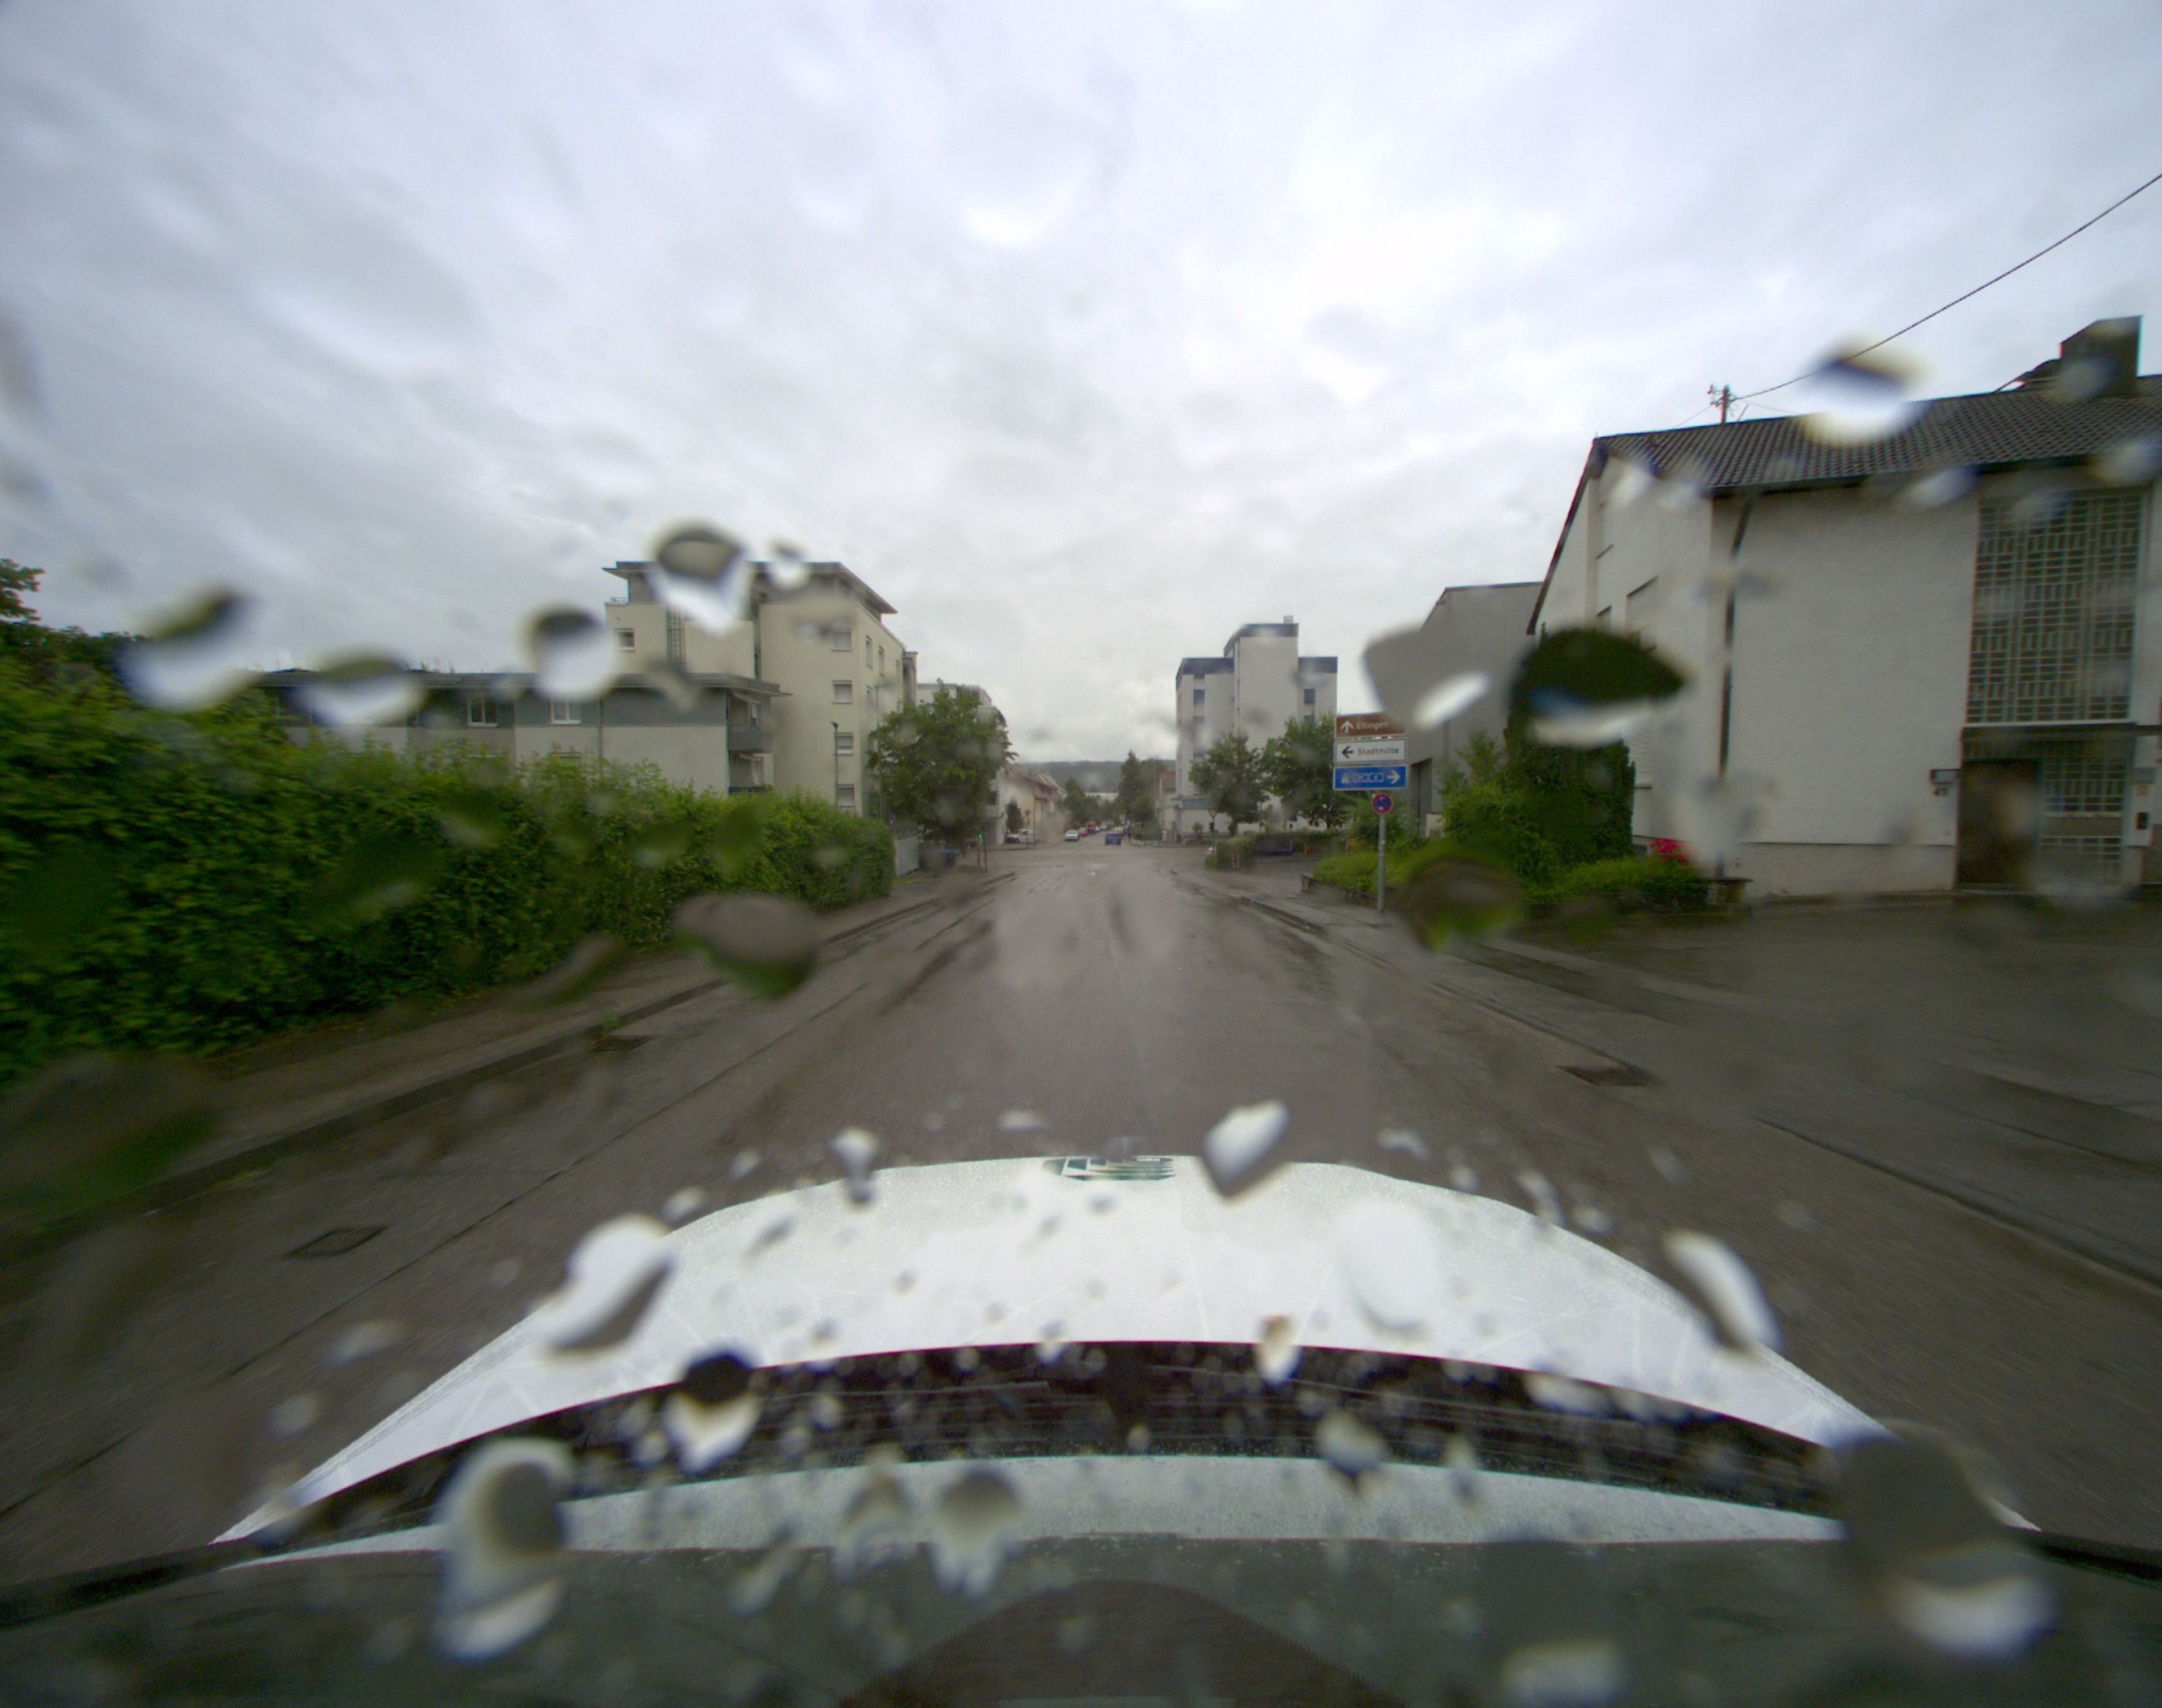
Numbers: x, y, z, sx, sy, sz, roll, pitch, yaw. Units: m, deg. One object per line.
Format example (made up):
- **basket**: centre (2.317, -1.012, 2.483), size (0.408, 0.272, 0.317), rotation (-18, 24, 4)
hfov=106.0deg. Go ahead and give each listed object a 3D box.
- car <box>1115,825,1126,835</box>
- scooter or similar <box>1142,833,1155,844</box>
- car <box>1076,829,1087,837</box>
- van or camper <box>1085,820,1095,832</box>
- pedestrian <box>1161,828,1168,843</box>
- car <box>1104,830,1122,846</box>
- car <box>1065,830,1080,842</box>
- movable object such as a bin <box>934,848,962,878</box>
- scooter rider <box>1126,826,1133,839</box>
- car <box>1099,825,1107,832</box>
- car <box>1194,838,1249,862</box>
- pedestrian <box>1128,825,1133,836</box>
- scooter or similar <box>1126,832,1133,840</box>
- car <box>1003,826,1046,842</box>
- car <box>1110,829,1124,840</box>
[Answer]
- **car**: centre (7.494, -4.594, 153.893), size (1.894, 1.745, 4.195), rotation (-2, 2, 2)
- **scooter or similar**: centre (7.399, -1.683, 88.989), size (1.265, 1.081, 0.876), rotation (-2, 2, -3)
- **car**: centre (0.112, -3.998, 154.918), size (1.894, 1.558, 4.195), rotation (-2, 2, 2)
- **van or camper**: centre (1.978, -6.022, 177.494), size (1.894, 2.513, 4.242), rotation (-2, 2, 2)
- **pedestrian**: centre (9.275, -2.012, 90.211), size (0.646, 1.647, 0.525), rotation (2, 1, -5)
- **car**: centre (3.768, -1.924, 96.663), size (1.987, 1.683, 4.000), rotation (-2, 2, 0)
- **car**: centre (-1.229, -2.668, 118.474), size (1.986, 1.625, 4.195), rotation (-2, 2, 2)
- **movable object such as a bin**: centre (-6.217, 0.396, 38.149), size (1.068, 1.347, 1.318), rotation (1, 0, -1)
- **scooter rider**: centre (6.964, -3.104, 117.254), size (0.751, 1.795, 0.671), rotation (-2, 2, -7)
- **car**: centre (5.521, -6.433, 205.068), size (1.894, 1.558, 4.195), rotation (-2, 2, 2)
- **car**: centre (10.784, -0.320, 62.525), size (4.020, 1.683, 1.977), rotation (-3, 2, -38)
- **pedestrian**: centre (8.175, -3.884, 134.413), size (0.743, 1.848, 0.526), rotation (0, 0, -1)
- **scooter or similar**: centre (7.013, -2.614, 117.256), size (0.756, 1.171, 1.311), rotation (-2, 2, -8)
- **car**: centre (-6.809, -2.397, 98.130), size (4.867, 1.835, 1.978), rotation (-3, 2, -37)
- **car**: centre (5.809, -3.165, 131.917), size (2.138, 1.589, 4.131), rotation (-2, 2, 2)
